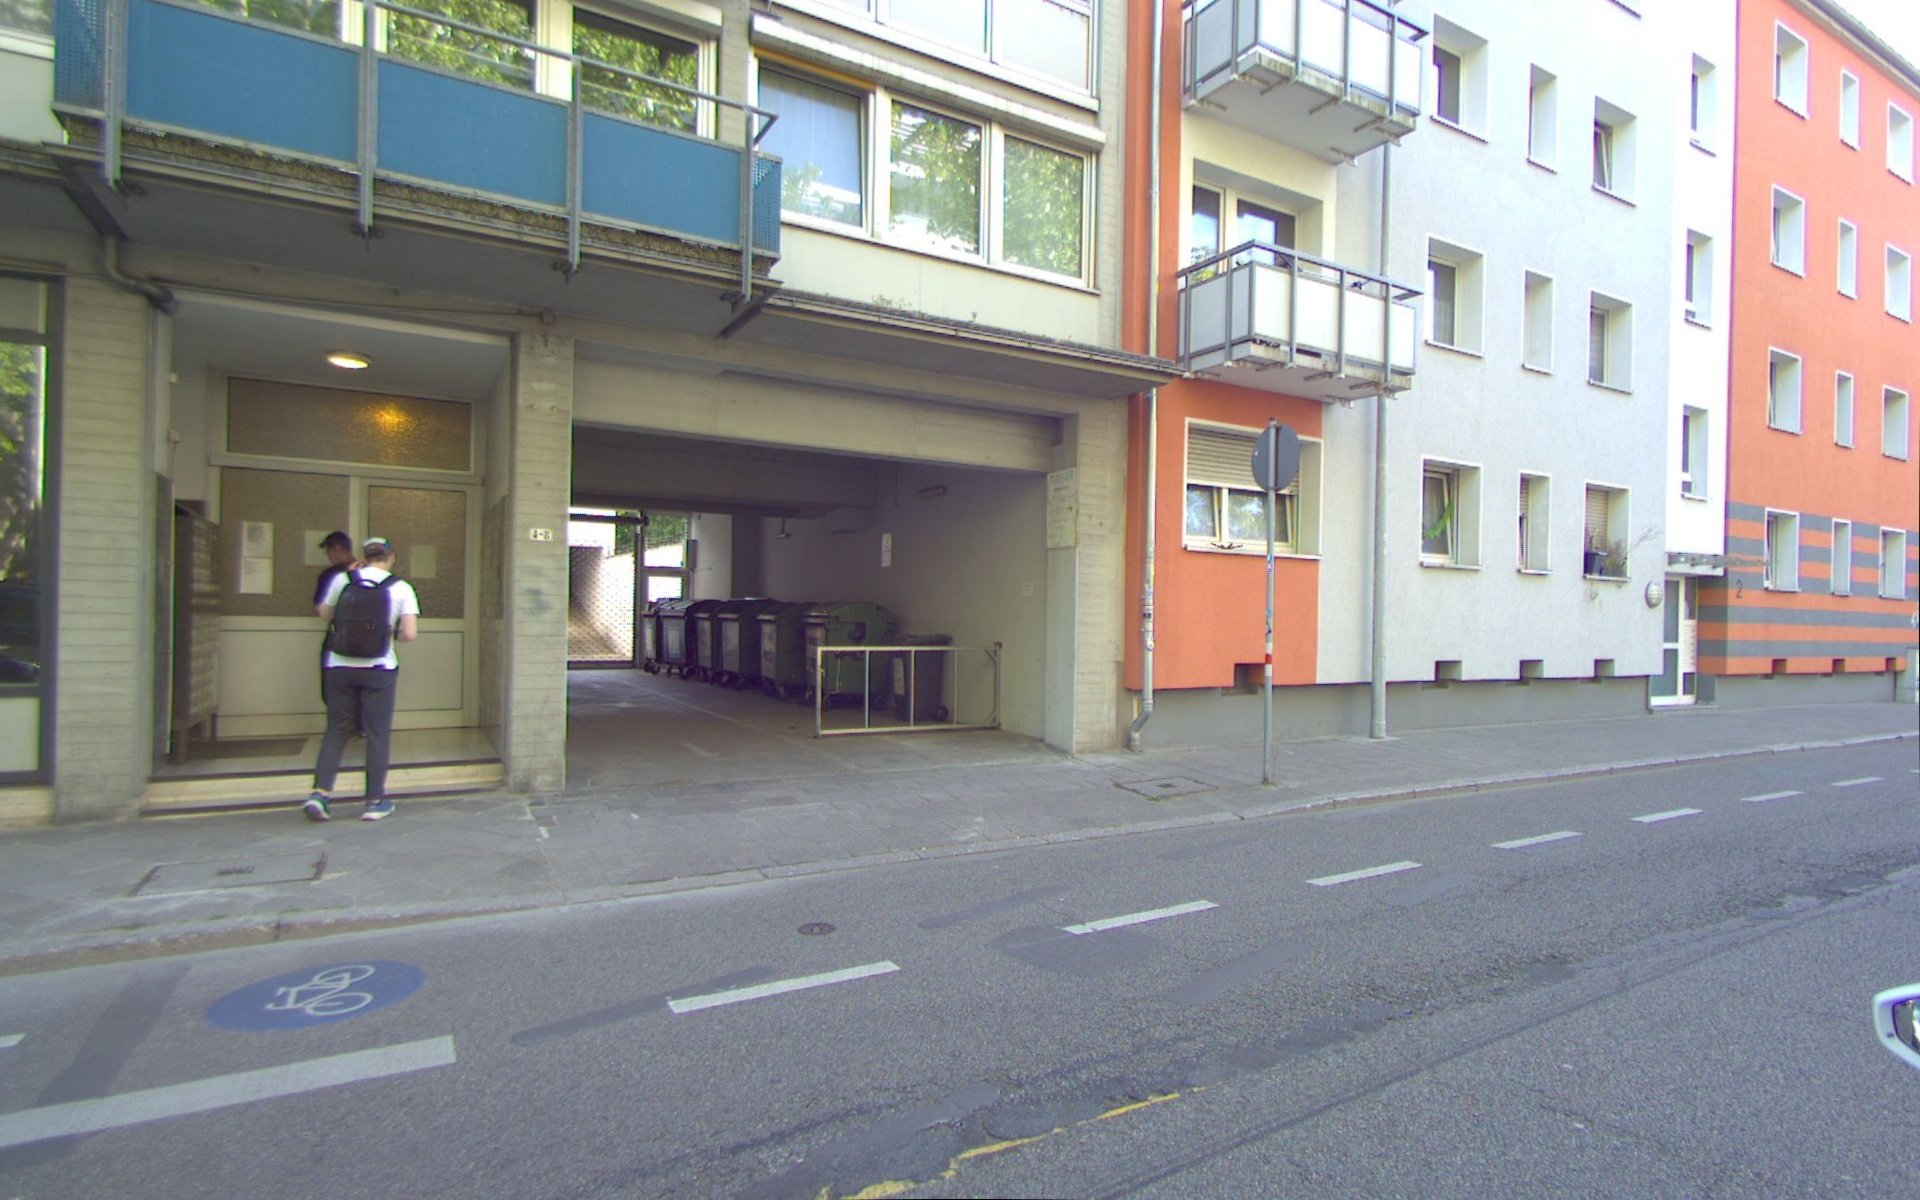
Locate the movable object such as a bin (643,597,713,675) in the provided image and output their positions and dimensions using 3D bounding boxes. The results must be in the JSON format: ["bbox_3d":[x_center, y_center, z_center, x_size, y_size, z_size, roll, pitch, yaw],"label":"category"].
[{"bbox_3d":[-5.609,0.708,19.979,1.167,1.503,0.819,1,0,-30],"label":"movable object such as a bin"}]

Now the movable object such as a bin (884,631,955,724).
[{"bbox_3d":[-0.505,0.945,12.451,0.687,1.094,0.579,1,0,-30],"label":"movable object such as a bin"}]

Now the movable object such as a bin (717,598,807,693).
[{"bbox_3d":[-3.295,0.728,16.639,1.167,1.503,1.073,1,0,-30],"label":"movable object such as a bin"}]

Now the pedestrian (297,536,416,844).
[{"bbox_3d":[-3.867,0.528,6.458,0.594,1.824,0.872,1,1,-31],"label":"pedestrian"}]

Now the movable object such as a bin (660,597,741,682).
[{"bbox_3d":[-4.843,0.715,18.712,1.167,1.503,1.215,1,0,-30],"label":"movable object such as a bin"}]

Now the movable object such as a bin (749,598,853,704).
[{"bbox_3d":[-2.407,0.735,15.148,1.167,1.503,1.252,1,0,-30],"label":"movable object such as a bin"}]

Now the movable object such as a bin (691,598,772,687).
[{"bbox_3d":[-4.022,0.726,17.642,1.080,1.503,1.159,1,0,-30],"label":"movable object such as a bin"}]

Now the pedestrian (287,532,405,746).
[{"bbox_3d":[-5.184,0.318,8.508,0.537,1.736,0.662,1,0,3],"label":"pedestrian"}]

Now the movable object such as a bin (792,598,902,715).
[{"bbox_3d":[-1.567,0.743,13.779,1.086,1.503,1.251,1,0,-30],"label":"movable object such as a bin"}]
